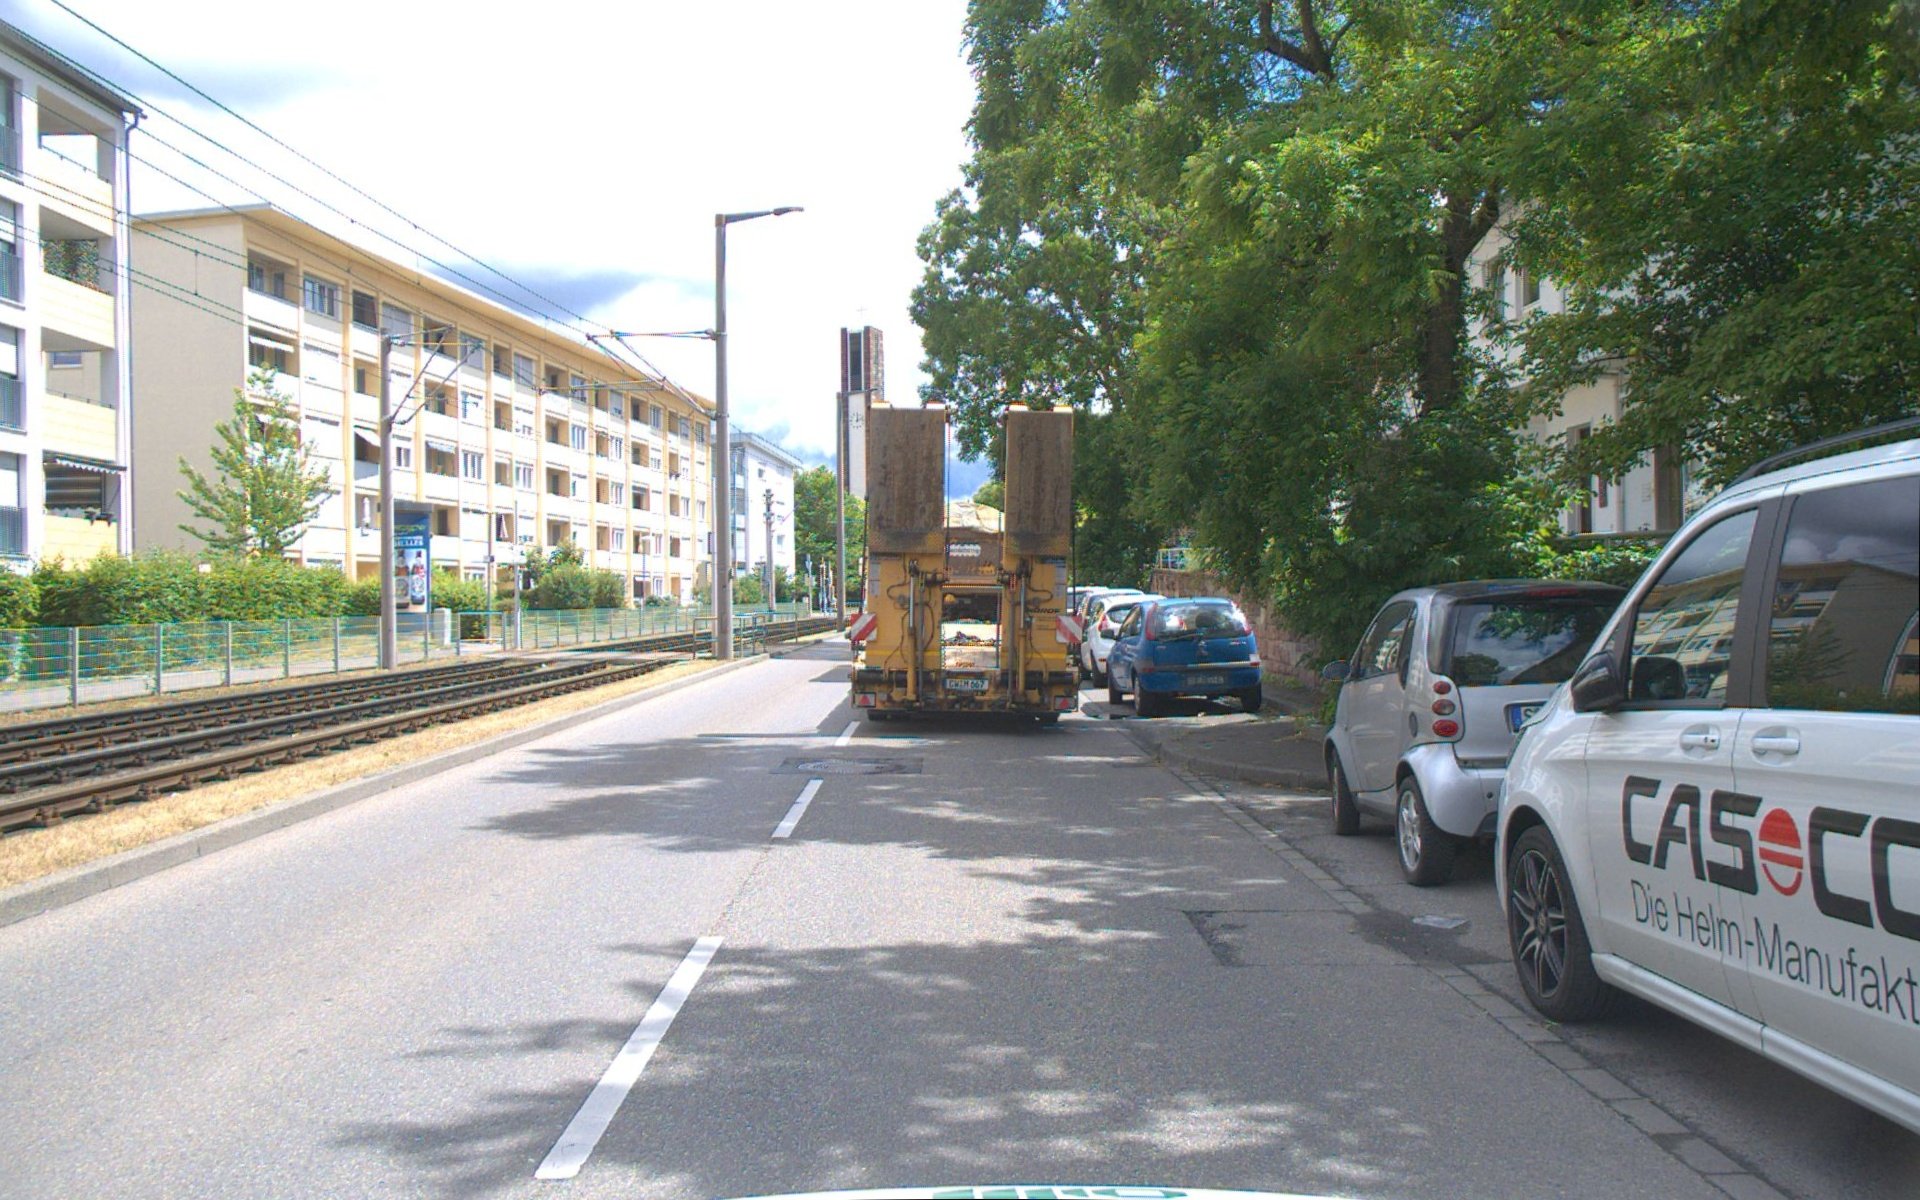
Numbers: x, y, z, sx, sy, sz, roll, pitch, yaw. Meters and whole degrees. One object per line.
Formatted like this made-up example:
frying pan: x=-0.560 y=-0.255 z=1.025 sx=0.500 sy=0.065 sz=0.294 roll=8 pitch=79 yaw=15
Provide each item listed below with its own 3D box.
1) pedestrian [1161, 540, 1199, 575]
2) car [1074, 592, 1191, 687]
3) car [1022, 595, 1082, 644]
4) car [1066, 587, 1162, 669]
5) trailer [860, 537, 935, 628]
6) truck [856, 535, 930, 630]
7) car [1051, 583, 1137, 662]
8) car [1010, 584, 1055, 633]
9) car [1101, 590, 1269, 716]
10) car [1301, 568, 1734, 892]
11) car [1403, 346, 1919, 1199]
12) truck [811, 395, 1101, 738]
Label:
pedestrian: x=5.134 y=-0.992 z=38.665 sx=0.779 sy=0.804 sz=0.705 roll=0 pitch=0 yaw=-1
car: x=2.931 y=0.634 z=28.696 sx=1.611 sy=1.516 sz=3.822 roll=0 pitch=0 yaw=0
car: x=2.968 y=0.606 z=53.824 sx=1.798 sy=1.430 sz=4.415 roll=-1 pitch=0 yaw=2
car: x=3.096 y=0.521 z=33.839 sx=1.549 sy=1.579 sz=3.474 roll=0 pitch=0 yaw=-2
trailer: x=-2.620 y=-0.760 z=73.148 sx=2.643 sy=3.643 sz=13.675 roll=1 pitch=0 yaw=0
truck: x=-2.639 y=-0.701 z=66.513 sx=2.643 sy=3.643 sz=6.145 roll=1 pitch=0 yaw=0
car: x=3.051 y=0.473 z=38.499 sx=1.786 sy=1.711 sz=4.577 roll=-1 pitch=0 yaw=2
car: x=3.125 y=0.322 z=71.732 sx=1.762 sy=2.003 sz=4.590 roll=-1 pitch=0 yaw=1
car: x=2.915 y=0.636 z=22.127 sx=1.575 sy=1.482 sz=3.674 roll=-2 pitch=0 yaw=-2
car: x=3.085 y=0.639 z=9.691 sx=1.482 sy=1.560 sz=2.846 roll=-2 pitch=0 yaw=-1
car: x=3.036 y=0.409 z=4.567 sx=1.876 sy=1.993 sz=5.743 roll=-1 pitch=0 yaw=-2
truck: x=-0.193 y=-0.418 z=23.820 sx=3.061 sy=3.626 sz=12.456 roll=0 pitch=0 yaw=-1
